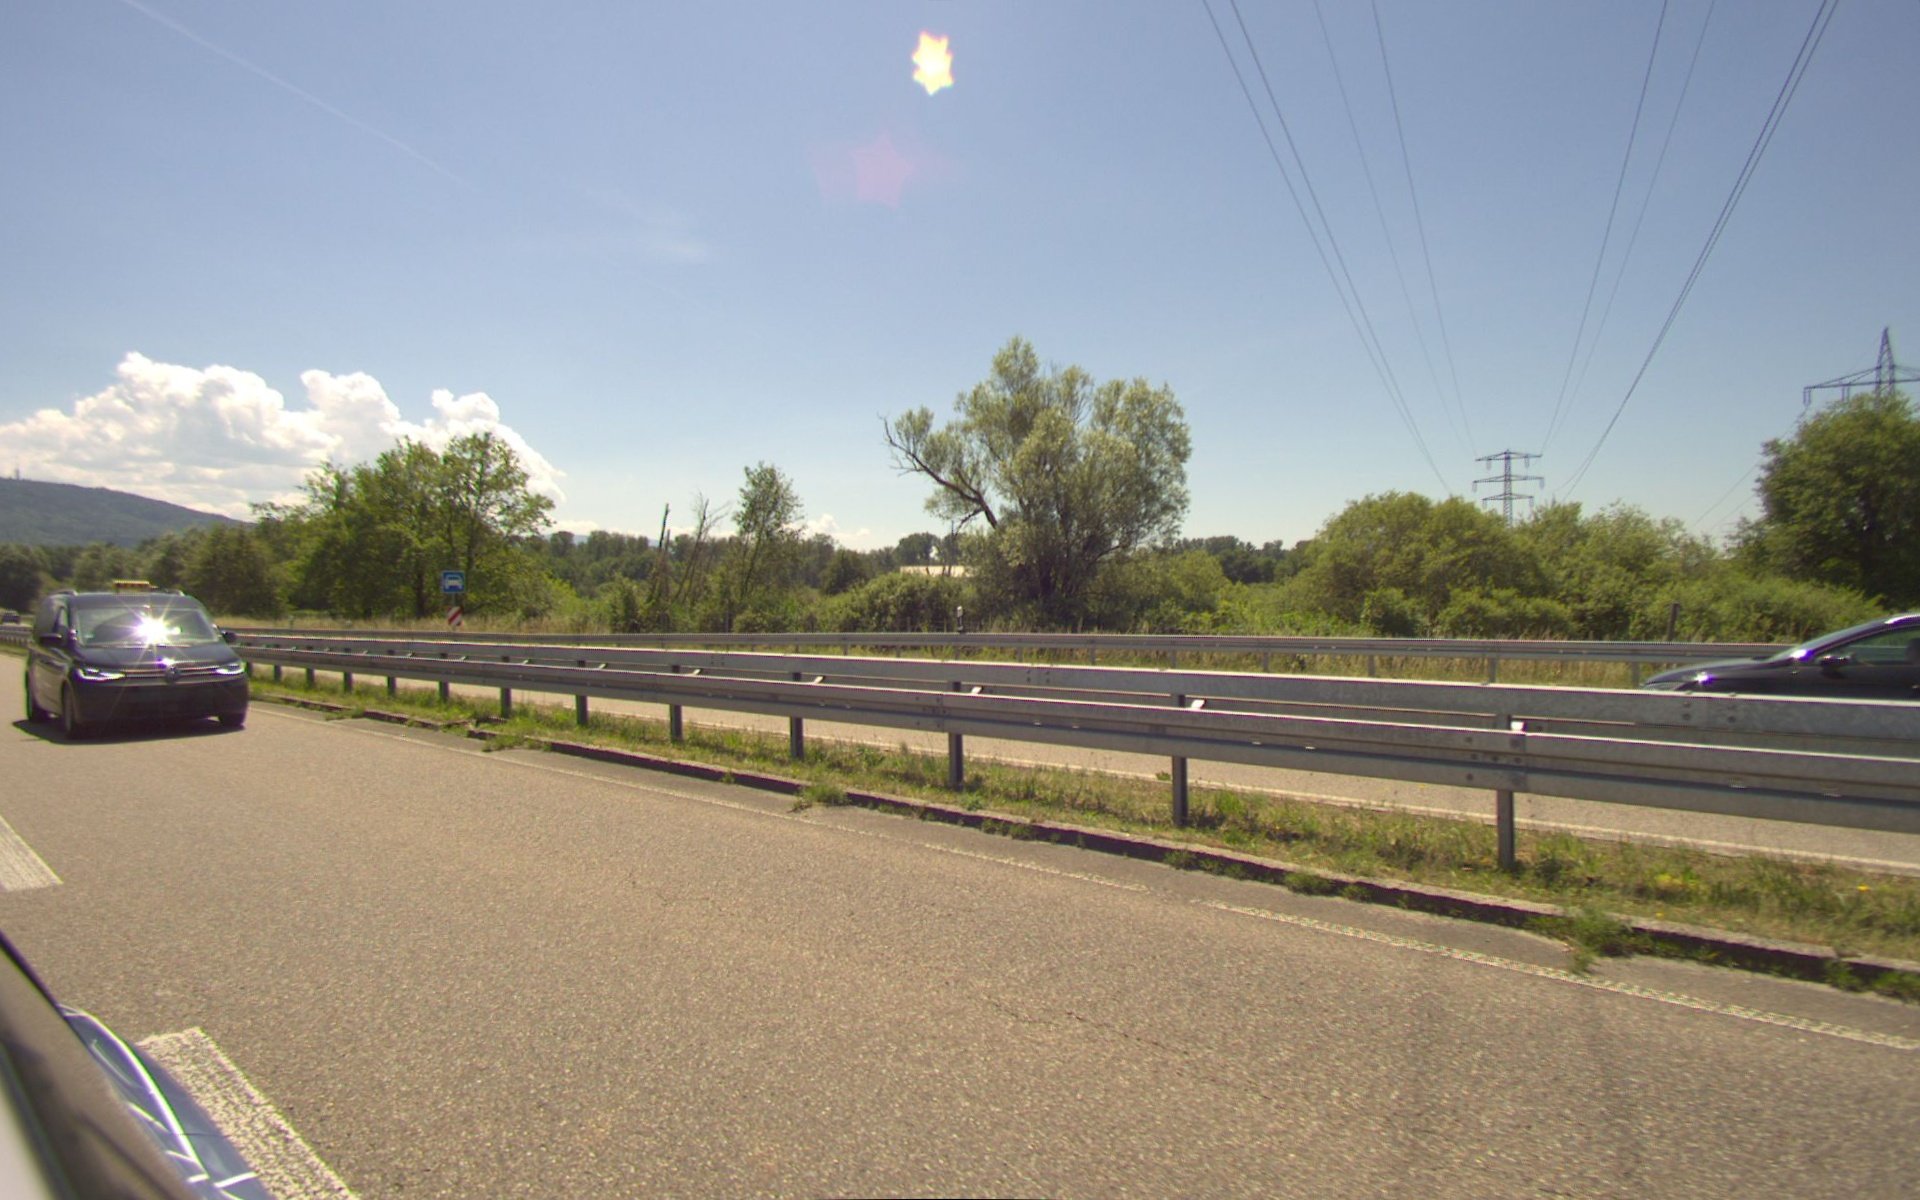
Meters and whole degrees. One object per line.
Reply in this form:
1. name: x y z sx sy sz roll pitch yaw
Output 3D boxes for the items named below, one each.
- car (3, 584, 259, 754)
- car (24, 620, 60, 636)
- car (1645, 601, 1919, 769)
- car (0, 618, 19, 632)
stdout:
1. car: -11.496 0.819 13.861 5.570 1.901 1.835 -1 -1 41
2. car: -80.041 2.426 88.225 4.657 1.395 1.903 -1 -2 42
3. car: 9.072 0.718 9.059 4.678 1.423 1.825 -1 -1 41
4. car: -113.145 2.968 120.029 4.169 1.630 1.823 -1 -1 42
